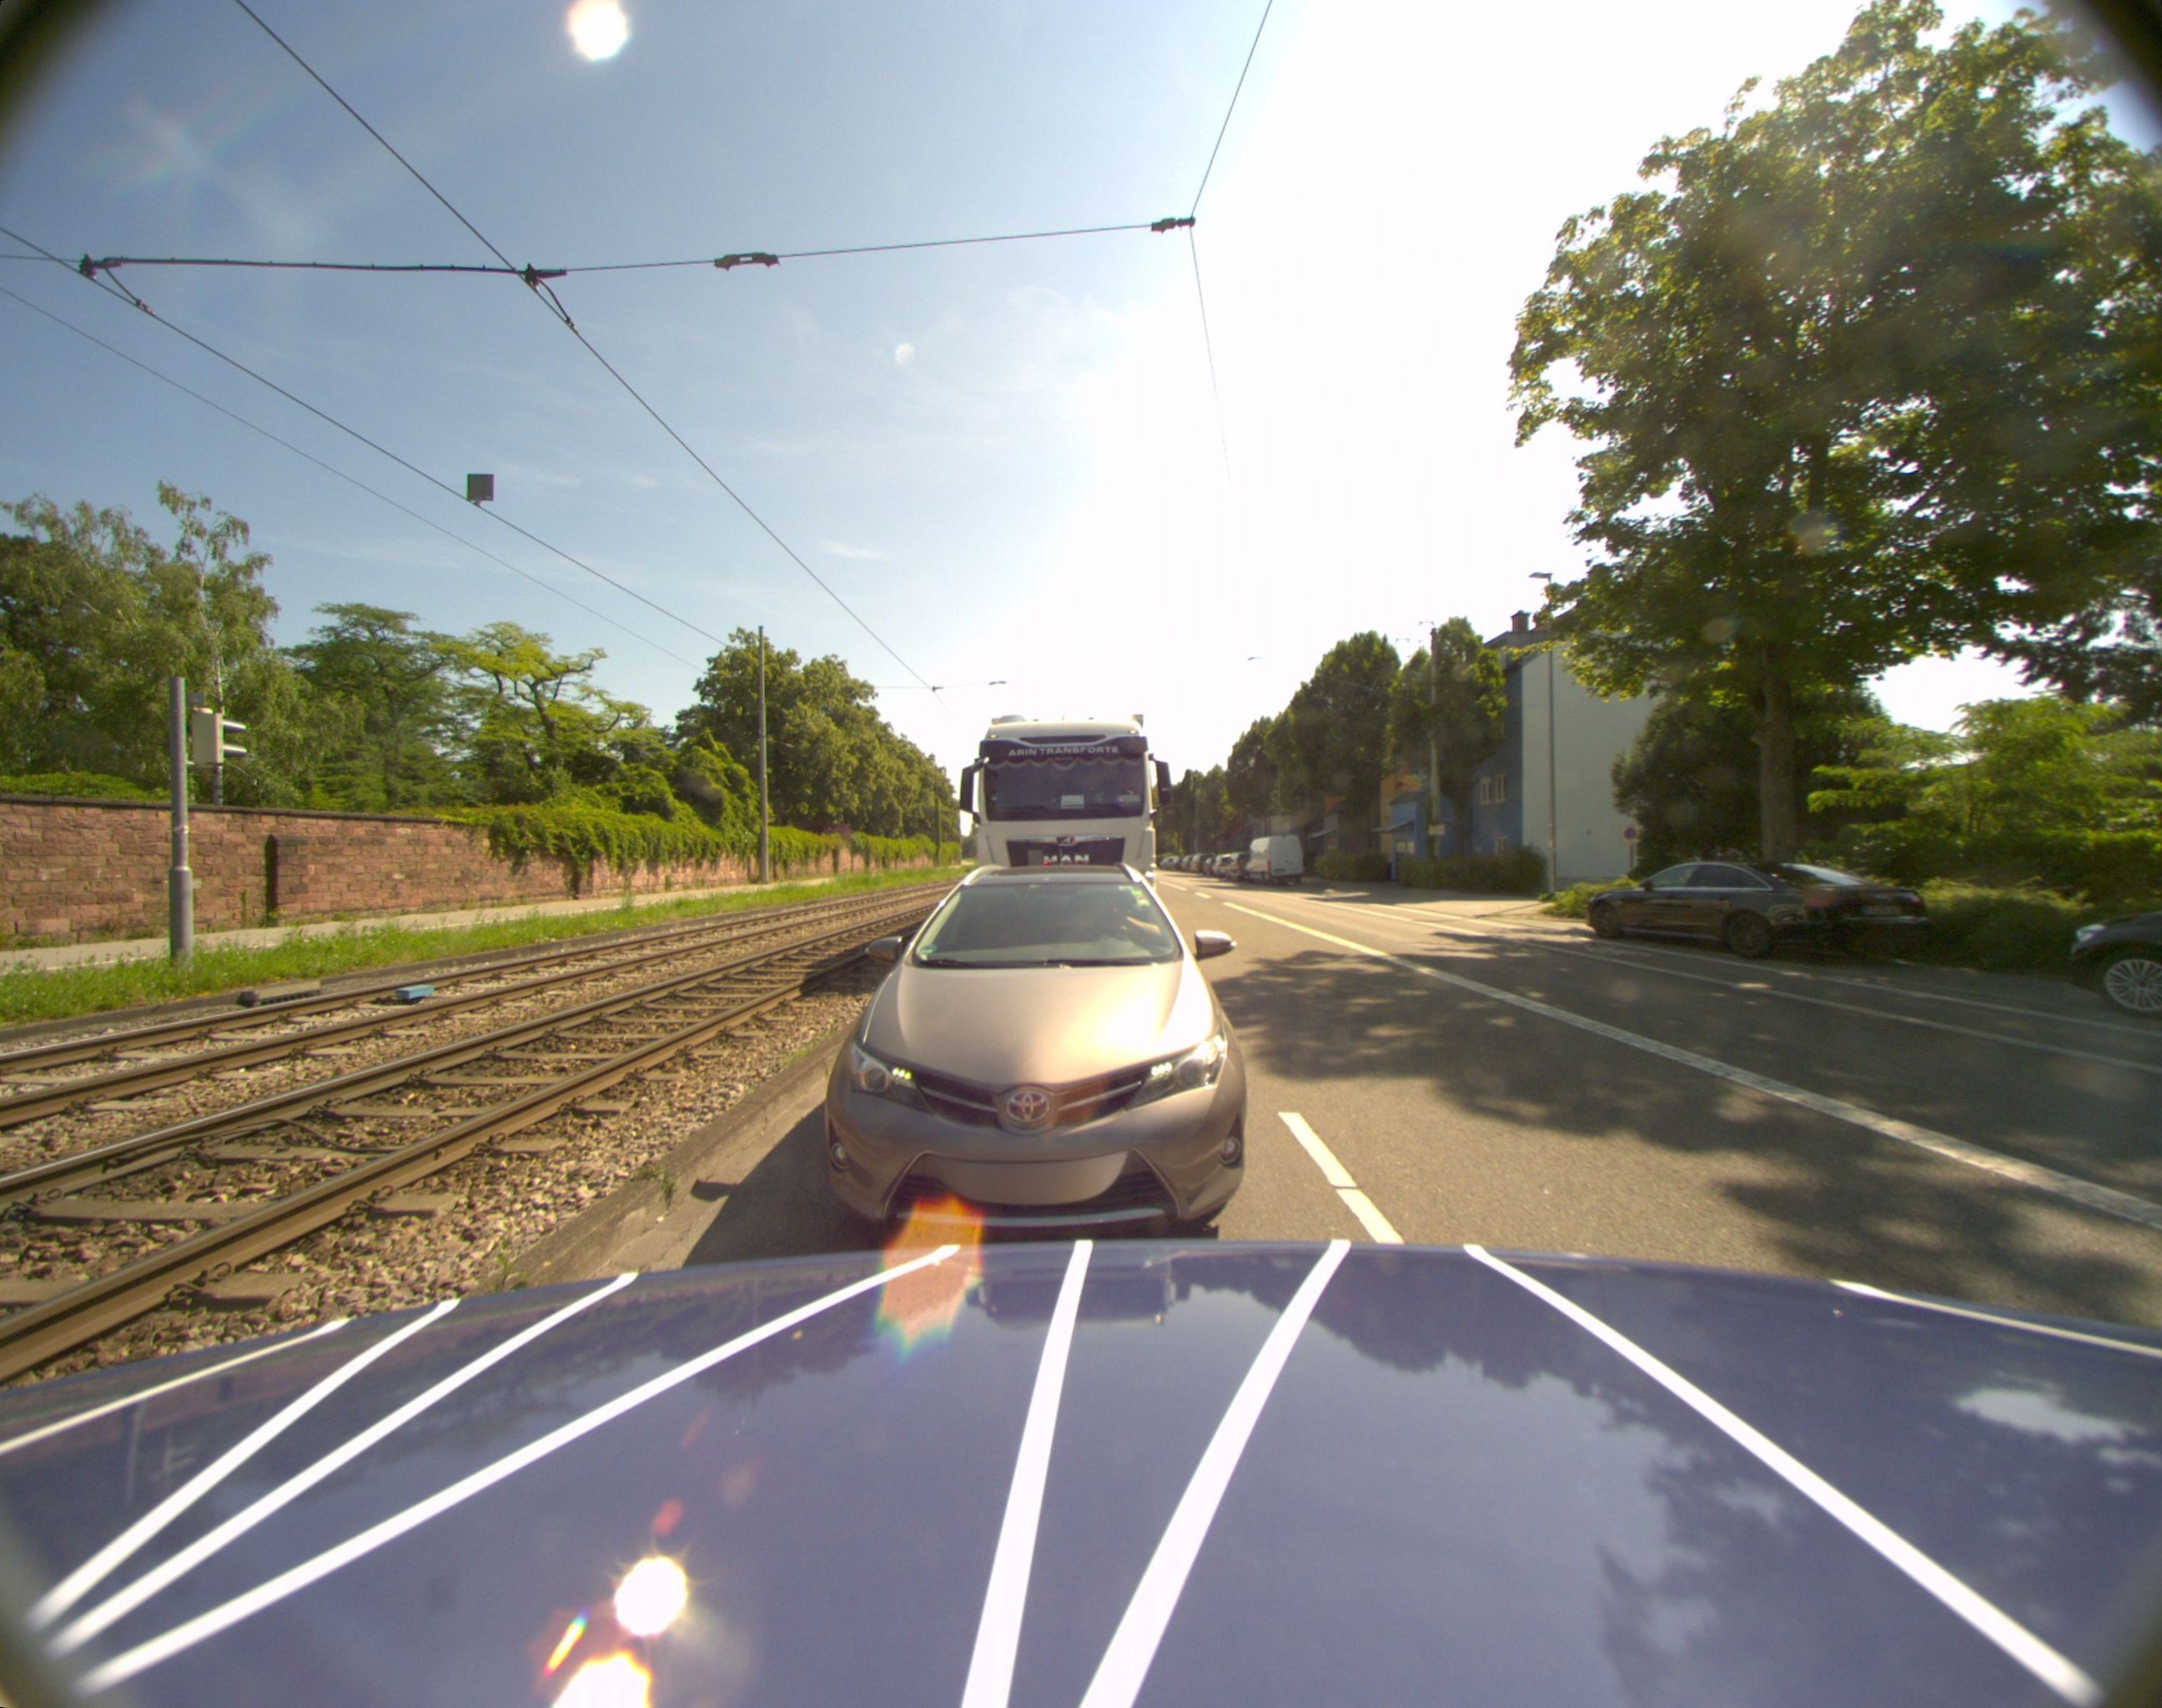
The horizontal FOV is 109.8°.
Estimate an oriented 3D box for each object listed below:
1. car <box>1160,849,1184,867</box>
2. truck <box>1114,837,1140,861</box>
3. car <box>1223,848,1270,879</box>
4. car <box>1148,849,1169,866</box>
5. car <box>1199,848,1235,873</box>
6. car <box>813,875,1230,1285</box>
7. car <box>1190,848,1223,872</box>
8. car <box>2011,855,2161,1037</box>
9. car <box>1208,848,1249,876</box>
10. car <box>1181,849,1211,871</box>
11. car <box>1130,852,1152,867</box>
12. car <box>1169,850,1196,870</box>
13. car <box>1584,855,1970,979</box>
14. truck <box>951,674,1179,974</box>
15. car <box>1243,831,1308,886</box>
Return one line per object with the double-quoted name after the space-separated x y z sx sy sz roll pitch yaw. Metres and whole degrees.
10.279 0.464 85.907 1.998 1.795 4.769 -6 0 0 "car"
6.990 -0.686 116.103 2.704 3.263 6.724 -6 0 -5 "truck"
11.138 0.630 51.442 1.998 1.795 4.769 -6 0 0 "car"
9.885 0.431 96.900 1.998 1.795 4.769 -6 0 0 "car"
11.223 0.539 62.858 1.998 1.795 4.256 -6 0 0 "car"
-0.200 0.912 4.870 1.573 1.422 4.000 0 0 1 "car"
11.121 0.515 67.670 1.998 1.795 4.769 -6 0 0 "car"
10.580 0.825 5.566 1.868 1.562 4.621 -2 0 0 "car"
11.081 0.573 57.375 1.998 1.795 4.769 -6 0 0 "car"
11.023 0.551 73.374 1.998 1.795 4.769 -6 0 0 "car"
8.283 0.786 105.565 1.999 1.795 5.111 -6 0 -4 "car"
10.573 0.626 79.163 1.998 1.795 4.769 -6 0 0 "car"
10.557 0.824 12.156 1.868 1.562 4.621 -1 0 -2 "car"
-0.112 -0.405 17.254 2.935 3.856 14.912 0 0 1 "truck"
10.909 0.247 43.146 1.998 2.678 6.214 -6 0 2 "car"
